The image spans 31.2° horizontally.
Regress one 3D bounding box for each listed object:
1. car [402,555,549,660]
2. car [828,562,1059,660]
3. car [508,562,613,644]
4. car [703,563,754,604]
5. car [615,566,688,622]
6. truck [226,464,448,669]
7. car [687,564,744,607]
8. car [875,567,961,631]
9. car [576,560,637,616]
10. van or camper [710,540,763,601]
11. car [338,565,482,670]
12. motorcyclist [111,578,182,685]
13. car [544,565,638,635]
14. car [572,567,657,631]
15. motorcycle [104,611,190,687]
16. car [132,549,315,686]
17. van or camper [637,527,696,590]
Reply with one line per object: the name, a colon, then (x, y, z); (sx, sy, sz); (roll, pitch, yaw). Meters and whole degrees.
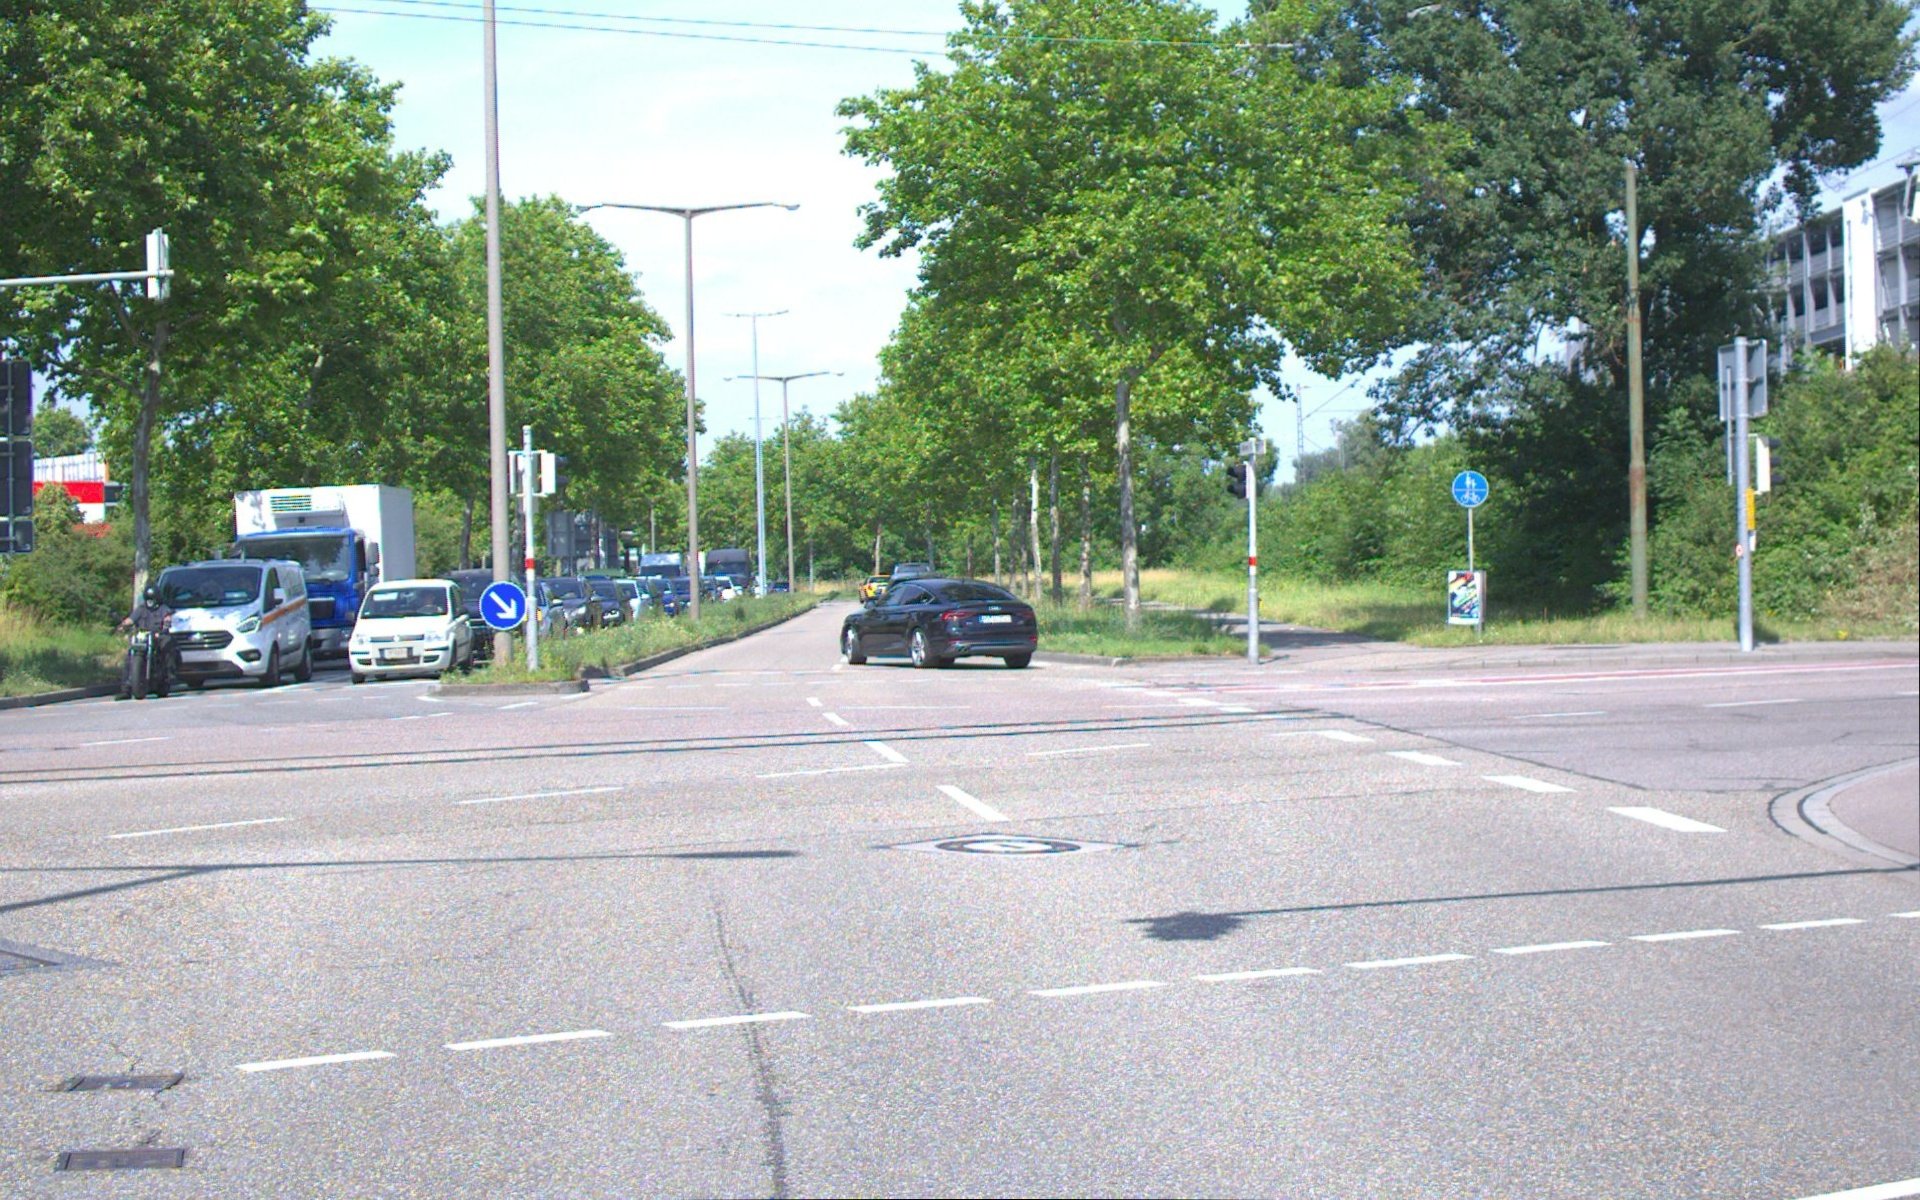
car: (-8.187, 0.130, 58.437); (1.820, 1.641, 4.694); (-2, 0, -1)
car: (-0.316, 0.144, 54.383); (1.908, 1.458, 4.622); (-1, 1, -24)
car: (-8.327, 0.038, 71.964); (1.689, 1.581, 4.240); (-2, 1, -1)
car: (-8.844, -0.642, 131.793); (1.689, 1.505, 3.815); (-2, 1, -1)
car: (-8.735, -0.180, 97.571); (1.784, 1.484, 4.212); (-2, 1, -2)
truck: (-11.411, -0.654, 63.566); (2.804, 3.459, 6.692); (-3, 1, -1)
car: (-8.880, -0.538, 125.199); (1.783, 1.454, 4.472); (-2, 1, -1)
car: (-0.987, -0.044, 79.187); (1.834, 1.386, 4.265); (-1, 1, -3)
car: (-12.204, -0.427, 118.912); (1.689, 1.852, 4.036); (-2, 0, -1)
van or camper: (-9.108, -1.189, 140.713); (1.938, 2.360, 5.398); (-2, 0, -2)
car: (-8.373, 0.240, 52.552); (1.593, 1.472, 3.729); (-2, 1, -1)
motorcyclist: (-11.415, 0.431, 48.252); (0.743, 1.465, 0.987); (-1, 1, -1)
car: (-8.465, -0.020, 79.239); (1.689, 1.468, 4.218); (-3, 1, -1)
car: (-8.510, -0.051, 84.876); (1.689, 1.467, 3.815); (-2, 1, -1)
motorcycle: (-11.378, 0.675, 48.161); (0.688, 0.988, 2.217); (-1, 1, -1)
car: (-11.333, 0.221, 53.253); (1.976, 1.992, 5.032); (-1, 1, -3)
van or camper: (-12.562, -1.770, 147.416); (2.015, 2.579, 5.517); (-2, 1, -1)
